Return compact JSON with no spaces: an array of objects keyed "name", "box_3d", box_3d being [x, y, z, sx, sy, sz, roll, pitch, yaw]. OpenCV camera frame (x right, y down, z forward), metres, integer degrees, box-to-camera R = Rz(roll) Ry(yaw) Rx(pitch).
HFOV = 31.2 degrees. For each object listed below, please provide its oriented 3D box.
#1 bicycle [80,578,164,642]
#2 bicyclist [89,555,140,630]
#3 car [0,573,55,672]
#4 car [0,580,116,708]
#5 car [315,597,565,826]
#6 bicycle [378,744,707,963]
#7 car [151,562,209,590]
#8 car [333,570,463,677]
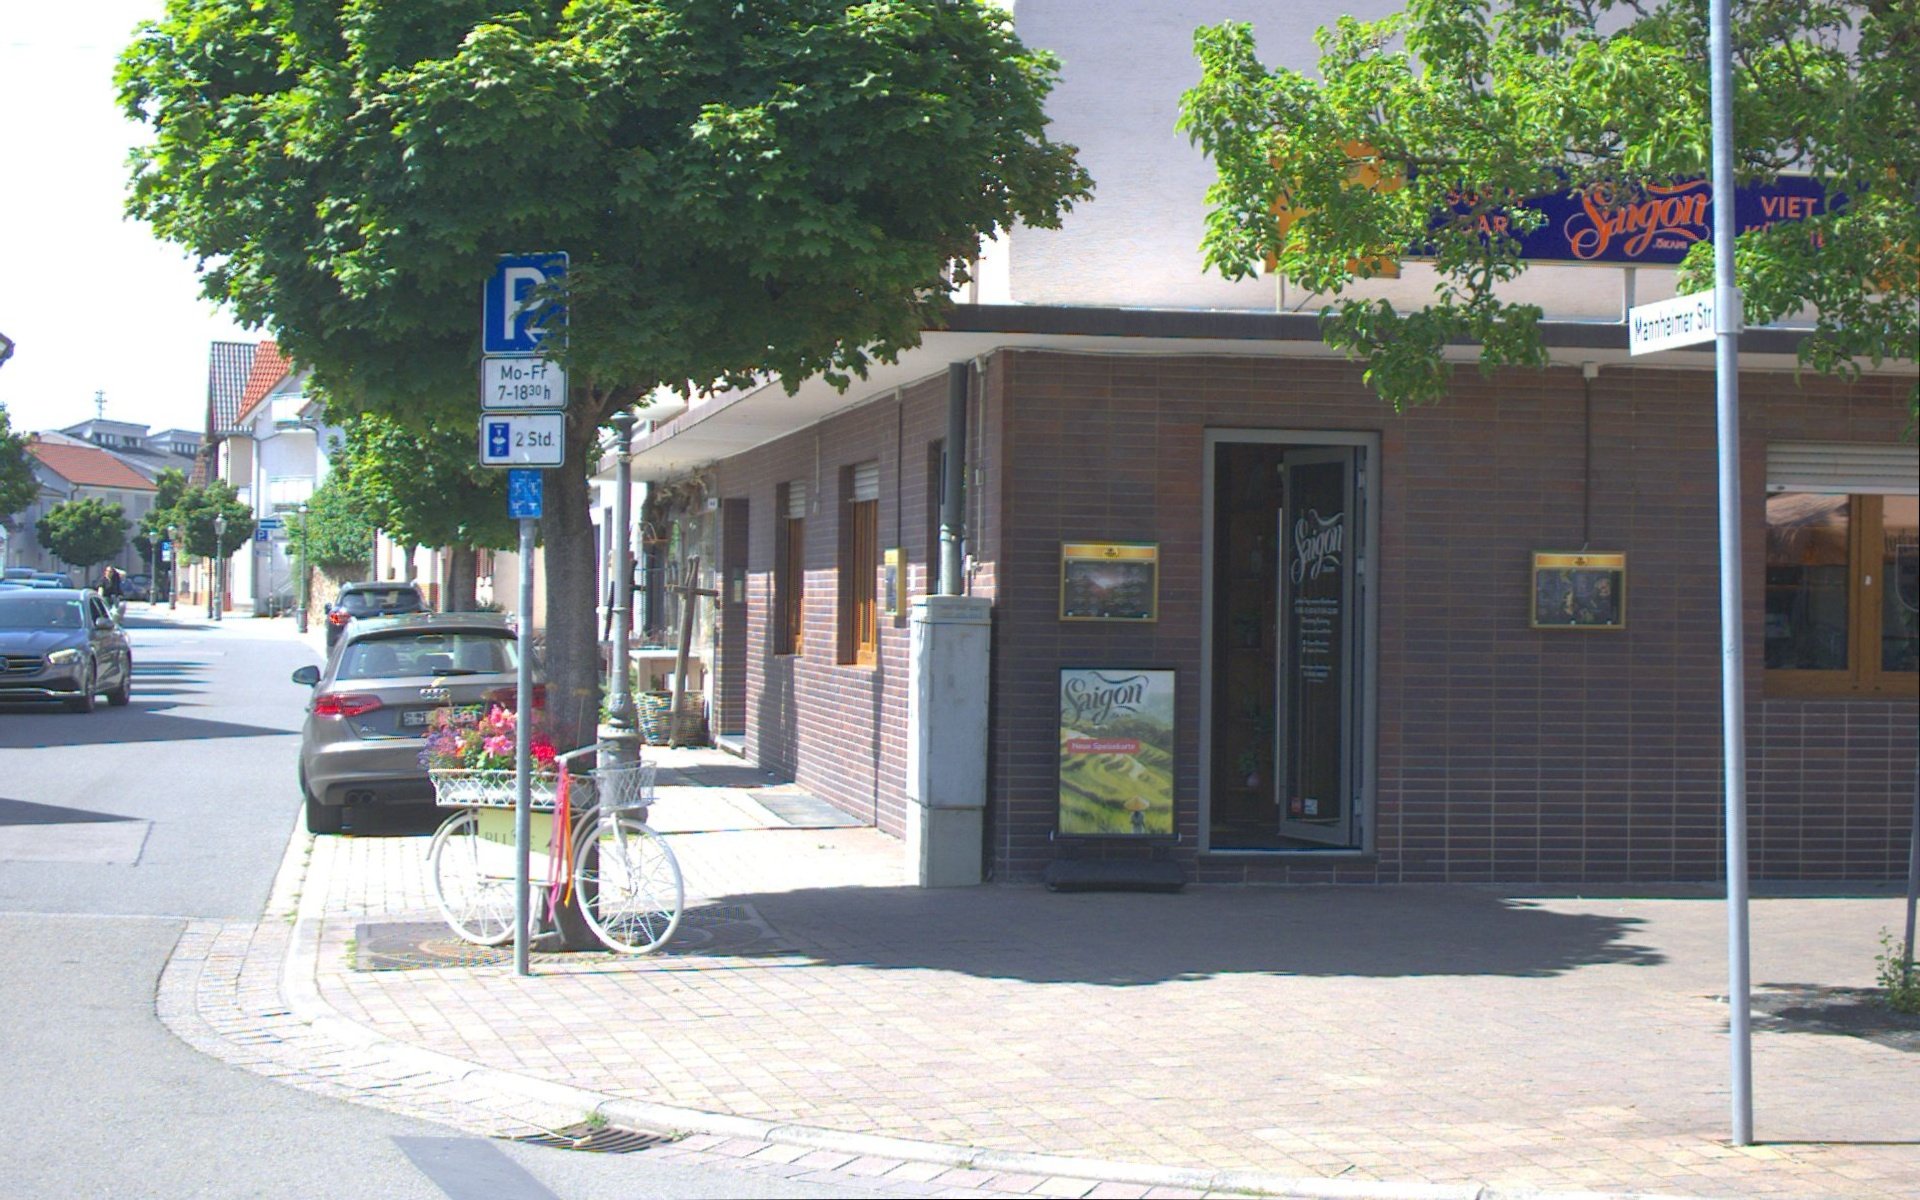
[{"name":"bicycle","box_3d":[-18.557,0.201,76.059,1.623,1.366,3.927,0,0,-16]},{"name":"bicyclist","box_3d":[-18.649,-0.165,75.824,1.046,1.632,1.129,0,0,-16]},{"name":"car","box_3d":[-15.009,0.318,53.200,1.663,1.471,4.136,0,0,-11]},{"name":"car","box_3d":[-11.385,0.579,42.048,1.908,1.476,4.845,0,-2,-12]},{"name":"car","box_3d":[-3.570,0.711,23.702,1.575,1.449,3.487,0,0,-8]},{"name":"bicycle","box_3d":[-1.856,1.109,15.243,1.411,0.894,0.464,0,1,27]},{"name":"car","box_3d":[-44.897,-1.362,197.973,2.027,1.592,4.508,0,0,5]},{"name":"car","box_3d":[-9.366,0.361,57.079,2.042,1.683,4.843,0,0,-10]}]
